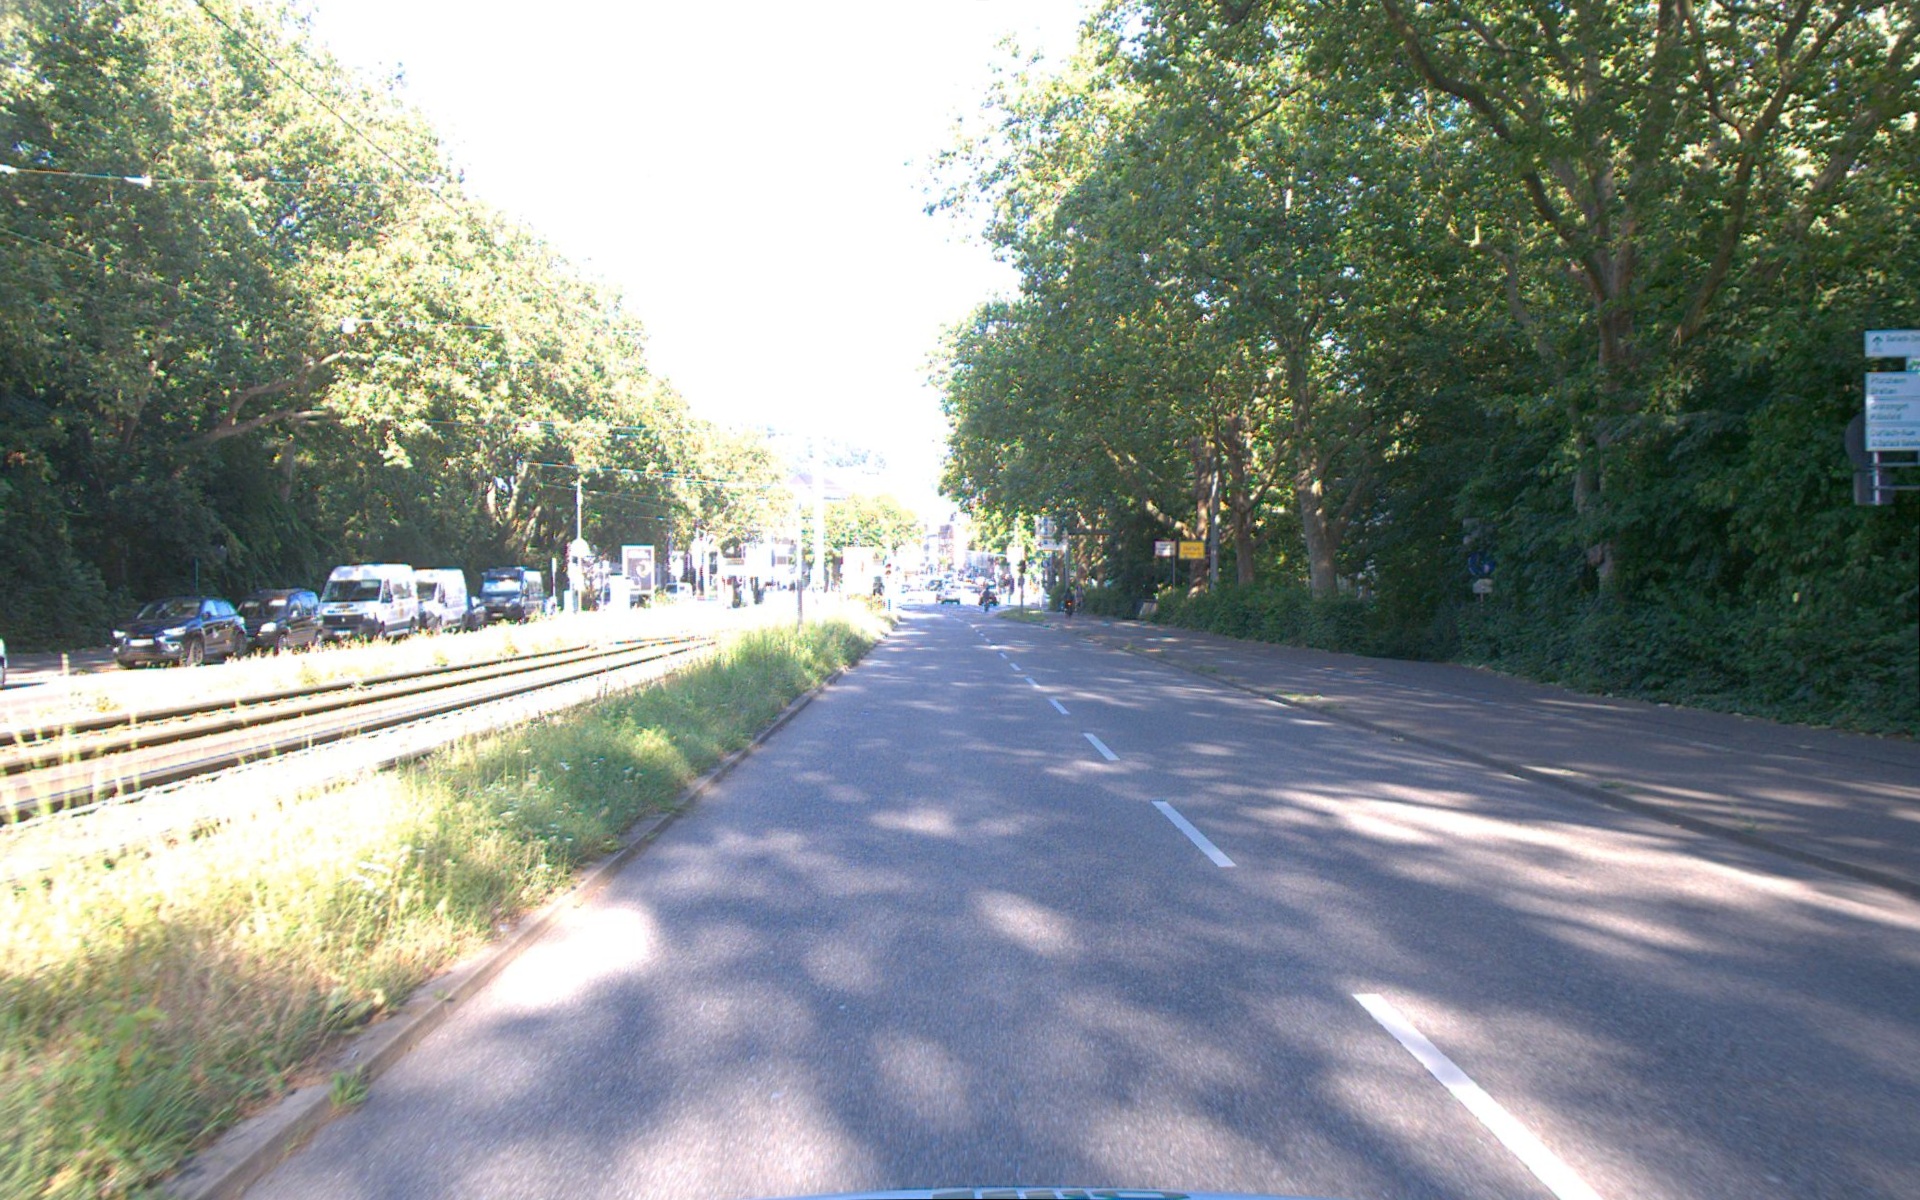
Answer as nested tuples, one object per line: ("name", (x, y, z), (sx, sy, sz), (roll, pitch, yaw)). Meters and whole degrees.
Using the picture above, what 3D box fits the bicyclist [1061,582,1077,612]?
("bicyclist", (5.592, -0.169, 84.955), (0.751, 1.539, 0.650), (0, 0, -3))

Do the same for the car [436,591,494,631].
("car", (-20.470, 0.439, 68.457), (1.620, 1.539, 3.262), (-2, 0, -5))

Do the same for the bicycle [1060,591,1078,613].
("bicycle", (5.587, 0.105, 84.952), (0.751, 1.127, 1.799), (0, 1, -3))

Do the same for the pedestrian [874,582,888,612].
("pedestrian", (-4.284, -0.163, 89.459), (0.510, 1.595, 0.507), (-2, 0, 28))

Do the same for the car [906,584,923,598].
("car", (-4.762, -0.946, 172.712), (1.772, 1.478, 3.998), (1, 0, -3))

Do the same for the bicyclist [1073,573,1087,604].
("bicyclist", (6.841, -0.659, 94.140), (0.685, 1.758, 1.079), (0, 0, -4))

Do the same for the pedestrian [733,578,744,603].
("pedestrian", (-15.999, -0.710, 119.600), (0.635, 1.803, 0.650), (1, 0, 0))

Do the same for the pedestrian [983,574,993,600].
("pedestrian", (2.049, -0.965, 121.037), (0.643, 1.903, 0.677), (0, 0, -3))

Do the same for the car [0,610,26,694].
("car", (-17.610, 0.947, 27.895), (1.705, 1.462, 3.849), (-2, 0, -4))

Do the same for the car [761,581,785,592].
("car", (-28.235, -2.054, 250.365), (1.759, 1.677, 4.006), (0, 1, 26))

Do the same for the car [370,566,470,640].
("car", (-19.956, 0.103, 61.414), (2.141, 2.565, 6.265), (-2, 0, -5))

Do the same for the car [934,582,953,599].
("car", (-1.701, -0.994, 171.034), (1.764, 1.666, 4.043), (0, 1, -3))

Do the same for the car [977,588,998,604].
("car", (2.652, -0.371, 158.764), (1.764, 1.464, 4.043), (1, 1, -2))

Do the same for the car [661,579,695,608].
("car", (-21.963, -0.494, 129.051), (2.026, 2.161, 5.086), (-2, 0, -4))

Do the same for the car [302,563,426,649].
("car", (-19.197, 0.177, 53.621), (2.140, 2.565, 6.045), (-2, 0, -4))

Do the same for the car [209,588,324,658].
("car", (-18.929, 0.600, 45.308), (1.705, 1.758, 3.879), (-2, 0, -4))

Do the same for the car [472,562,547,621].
("car", (-20.768, -0.387, 76.514), (2.140, 2.565, 6.028), (-2, 0, -4))

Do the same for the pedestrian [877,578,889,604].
("pedestrian", (-5.247, -0.598, 112.694), (0.727, 1.724, 0.791), (1, 0, -2))

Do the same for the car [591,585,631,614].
("car", (-20.997, -0.030, 99.715), (1.866, 1.680, 3.968), (-2, 0, -5))

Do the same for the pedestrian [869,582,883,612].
("pedestrian", (-4.544, -0.169, 89.042), (0.510, 1.595, 0.507), (-2, 0, 28))

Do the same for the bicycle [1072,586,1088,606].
("bicycle", (6.839, -0.246, 94.140), (0.685, 1.127, 1.929), (0, 0, -3))

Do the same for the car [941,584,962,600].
("car", (-0.879, -0.818, 163.633), (1.890, 1.498, 4.853), (0, 1, -2))

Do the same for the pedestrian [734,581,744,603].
("pedestrian", (-15.887, -0.594, 118.946), (0.581, 1.571, 0.626), (1, 0, -2))

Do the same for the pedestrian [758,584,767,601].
("pedestrian", (-16.199, -0.635, 135.473), (0.656, 1.347, 0.756), (-3, 0, -4))

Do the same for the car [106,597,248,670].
("car", (-18.413, 0.761, 39.077), (1.705, 1.582, 3.879), (-2, 0, -4))
